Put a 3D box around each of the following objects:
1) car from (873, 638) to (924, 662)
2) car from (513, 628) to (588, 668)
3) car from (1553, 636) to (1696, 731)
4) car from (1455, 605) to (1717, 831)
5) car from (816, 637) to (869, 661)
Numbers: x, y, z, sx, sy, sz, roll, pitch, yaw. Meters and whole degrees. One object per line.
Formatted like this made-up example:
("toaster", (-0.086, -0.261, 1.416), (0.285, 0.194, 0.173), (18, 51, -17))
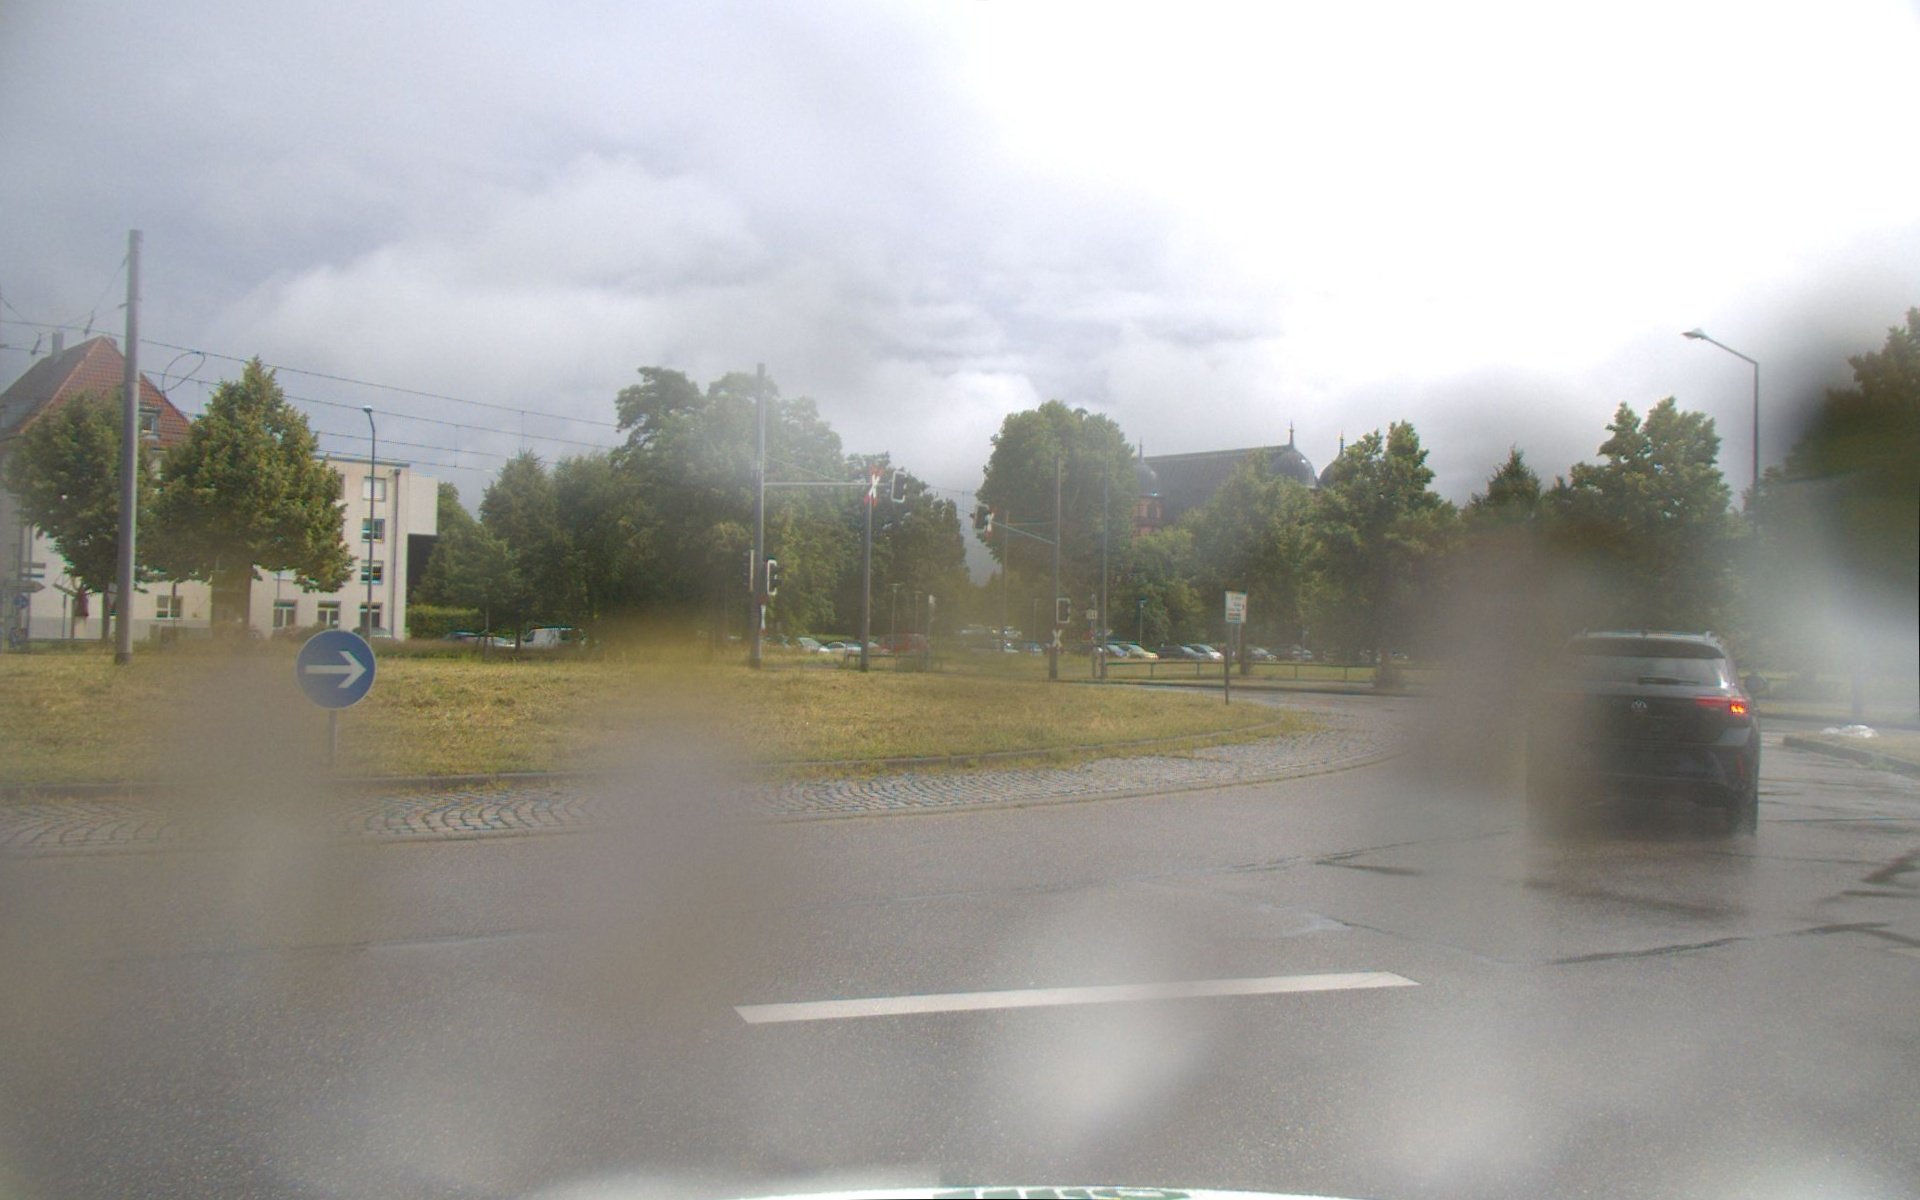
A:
("car", (-4.125, 3.337, 110.889), (1.633, 1.537, 3.600), (2, -2, -38))
("car", (-23.138, 2.685, 93.286), (2.093, 2.094, 5.087), (1, -1, -40))
("car", (11.651, 1.411, 29.214), (1.678, 1.488, 4.003), (1, 0, 12))
("car", (5.567, 0.964, 14.589), (1.859, 1.646, 3.998), (1, -2, 23))
("car", (-7.615, 3.150, 107.274), (1.630, 1.487, 3.557), (3, -2, -41))
